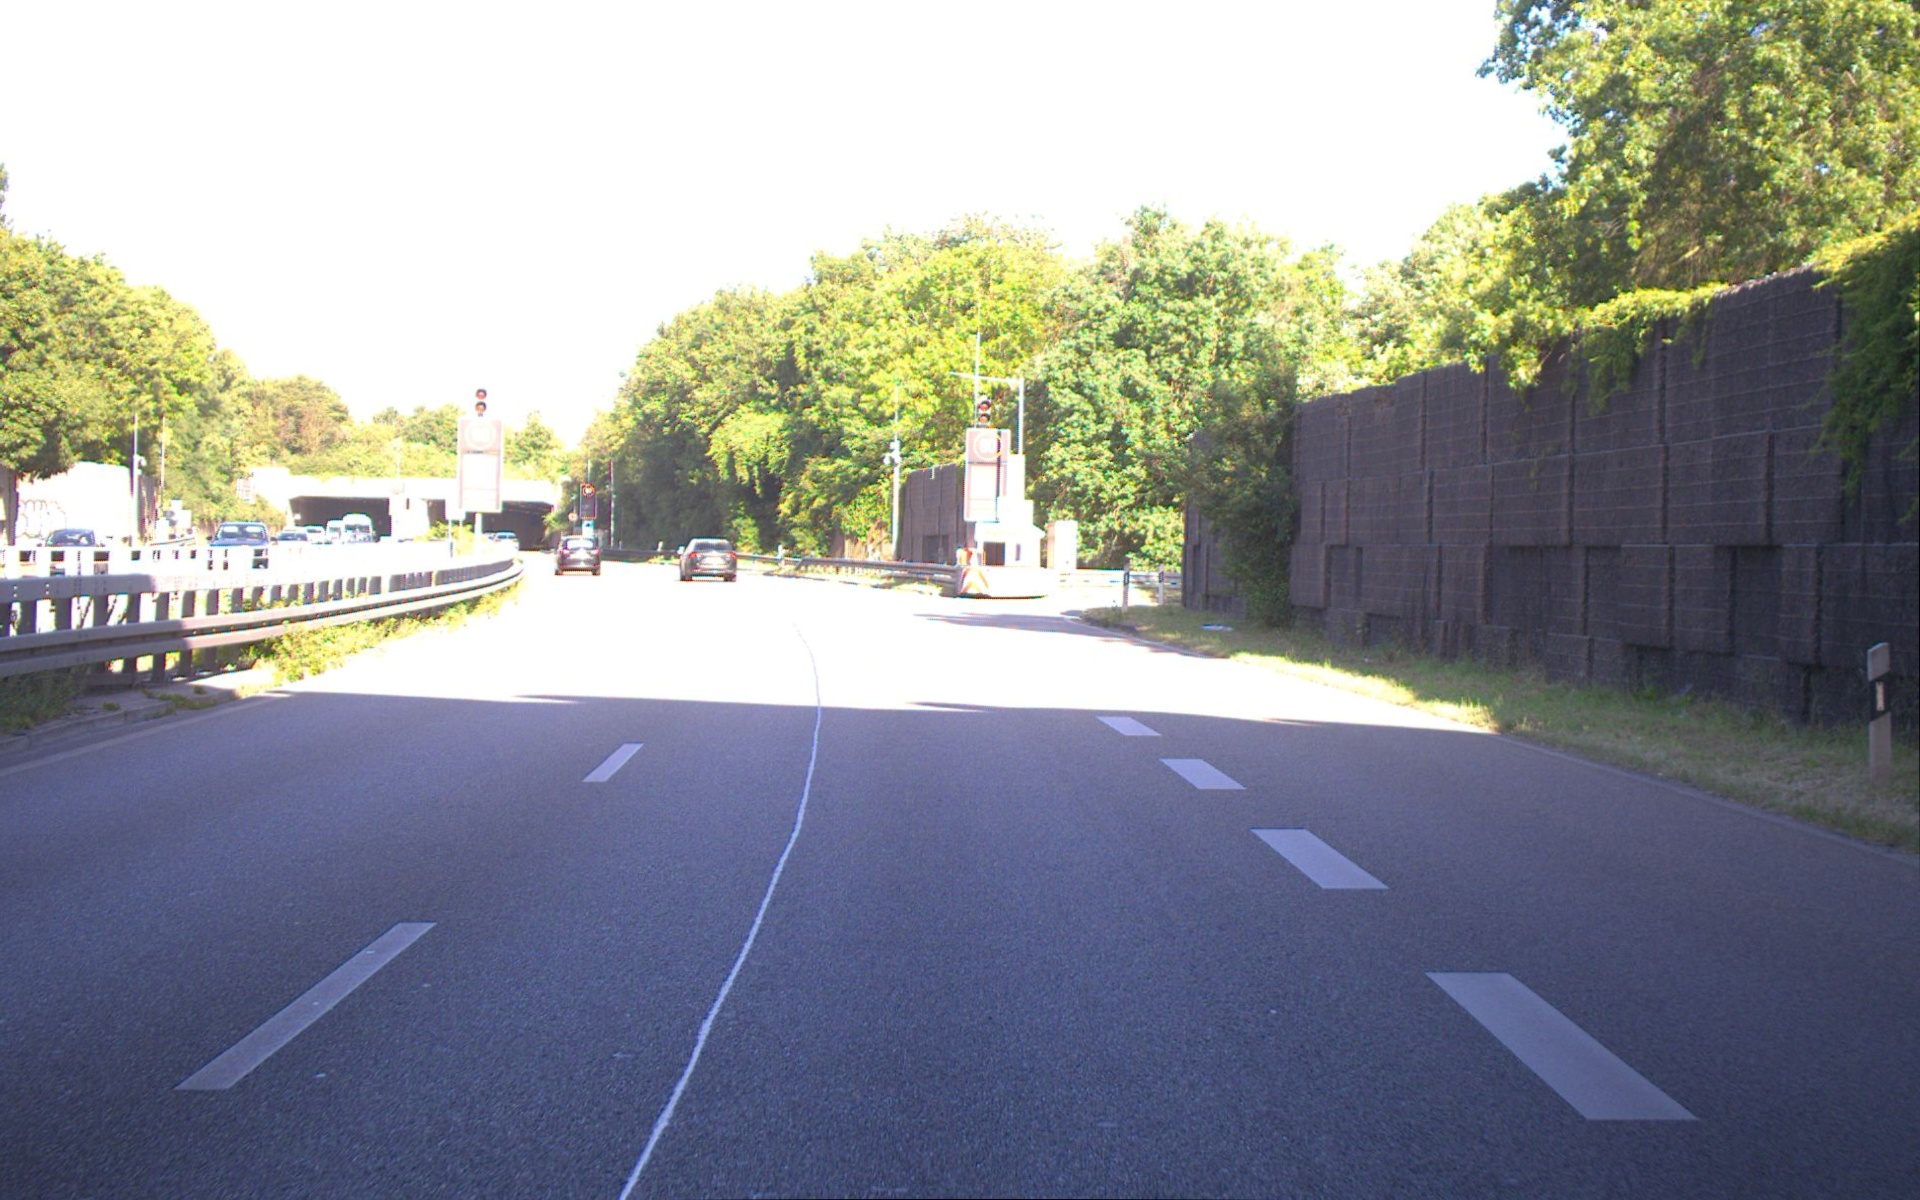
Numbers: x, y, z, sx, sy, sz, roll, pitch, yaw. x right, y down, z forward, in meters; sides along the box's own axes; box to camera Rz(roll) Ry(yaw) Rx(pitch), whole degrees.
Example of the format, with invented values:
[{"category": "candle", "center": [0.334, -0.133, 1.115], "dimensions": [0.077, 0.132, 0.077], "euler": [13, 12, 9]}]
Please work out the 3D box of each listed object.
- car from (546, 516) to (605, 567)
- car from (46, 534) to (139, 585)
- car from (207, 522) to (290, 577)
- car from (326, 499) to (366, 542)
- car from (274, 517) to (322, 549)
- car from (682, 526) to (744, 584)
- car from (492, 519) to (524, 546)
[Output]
[{"category": "car", "center": [-15.340, -2.348, 137.379], "dimensions": [1.993, 1.919, 4.001], "euler": [2, 1, -2]}, {"category": "car", "center": [-24.952, -1.181, 99.034], "dimensions": [1.897, 1.417, 4.136], "euler": [0, 2, -4]}, {"category": "car", "center": [-22.510, -1.614, 108.915], "dimensions": [1.897, 1.568, 4.809], "euler": [3, 1, -4]}, {"category": "car", "center": [-40.681, -5.288, 227.870], "dimensions": [2.120, 2.674, 6.590], "euler": [3, 1, -7]}, {"category": "car", "center": [-33.058, -3.360, 171.704], "dimensions": [1.993, 1.475, 4.536], "euler": [3, 1, -7]}, {"category": "car", "center": [-8.581, -1.586, 119.683], "dimensions": [1.993, 1.919, 4.001], "euler": [2, 1, -2]}, {"category": "car", "center": [-33.384, -4.986, 254.001], "dimensions": [1.993, 1.919, 4.001], "euler": [2, 1, -12]}]
